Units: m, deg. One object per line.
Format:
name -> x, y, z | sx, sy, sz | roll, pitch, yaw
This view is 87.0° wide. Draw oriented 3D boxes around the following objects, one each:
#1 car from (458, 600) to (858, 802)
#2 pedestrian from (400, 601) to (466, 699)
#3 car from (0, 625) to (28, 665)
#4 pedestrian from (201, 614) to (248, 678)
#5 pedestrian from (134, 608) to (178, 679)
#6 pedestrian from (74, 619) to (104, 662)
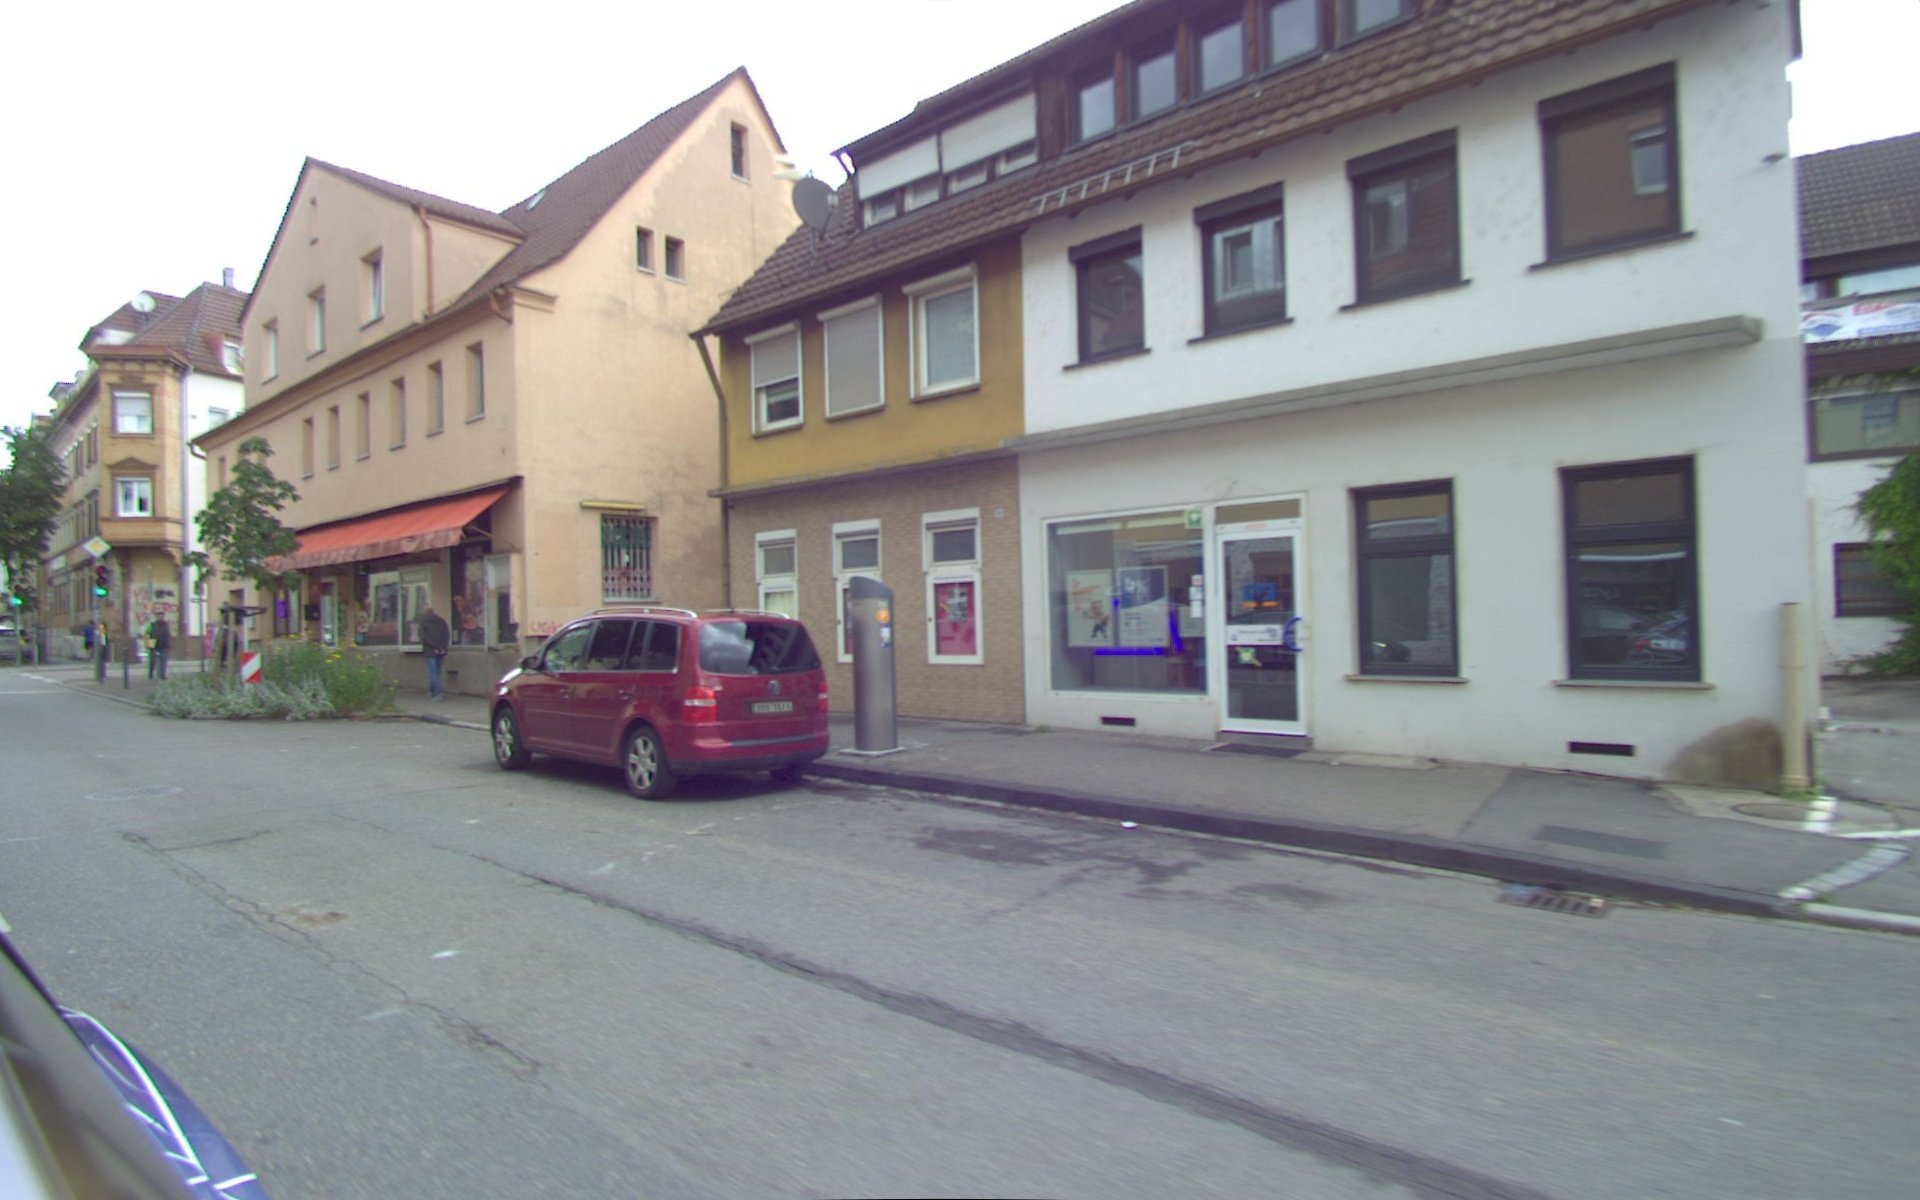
car -> -3.157, 0.882, 10.078 | 4.447, 1.586, 1.685 | -2, -3, 41
pedestrian -> -9.217, 0.850, 17.702 | 0.757, 1.640, 0.723 | 0, 2, 38
car -> -43.637, 2.030, 45.690 | 4.741, 1.725, 1.870 | -2, -3, 43
pedestrian -> -18.548, 1.155, 25.525 | 0.982, 1.546, 0.731 | -2, -1, 40
pedestrian -> -20.845, 1.121, 26.233 | 0.982, 1.767, 0.731 | -2, -1, 42
pedestrian -> -35.799, 1.665, 41.579 | 1.155, 1.731, 0.731 | -2, -1, 39
